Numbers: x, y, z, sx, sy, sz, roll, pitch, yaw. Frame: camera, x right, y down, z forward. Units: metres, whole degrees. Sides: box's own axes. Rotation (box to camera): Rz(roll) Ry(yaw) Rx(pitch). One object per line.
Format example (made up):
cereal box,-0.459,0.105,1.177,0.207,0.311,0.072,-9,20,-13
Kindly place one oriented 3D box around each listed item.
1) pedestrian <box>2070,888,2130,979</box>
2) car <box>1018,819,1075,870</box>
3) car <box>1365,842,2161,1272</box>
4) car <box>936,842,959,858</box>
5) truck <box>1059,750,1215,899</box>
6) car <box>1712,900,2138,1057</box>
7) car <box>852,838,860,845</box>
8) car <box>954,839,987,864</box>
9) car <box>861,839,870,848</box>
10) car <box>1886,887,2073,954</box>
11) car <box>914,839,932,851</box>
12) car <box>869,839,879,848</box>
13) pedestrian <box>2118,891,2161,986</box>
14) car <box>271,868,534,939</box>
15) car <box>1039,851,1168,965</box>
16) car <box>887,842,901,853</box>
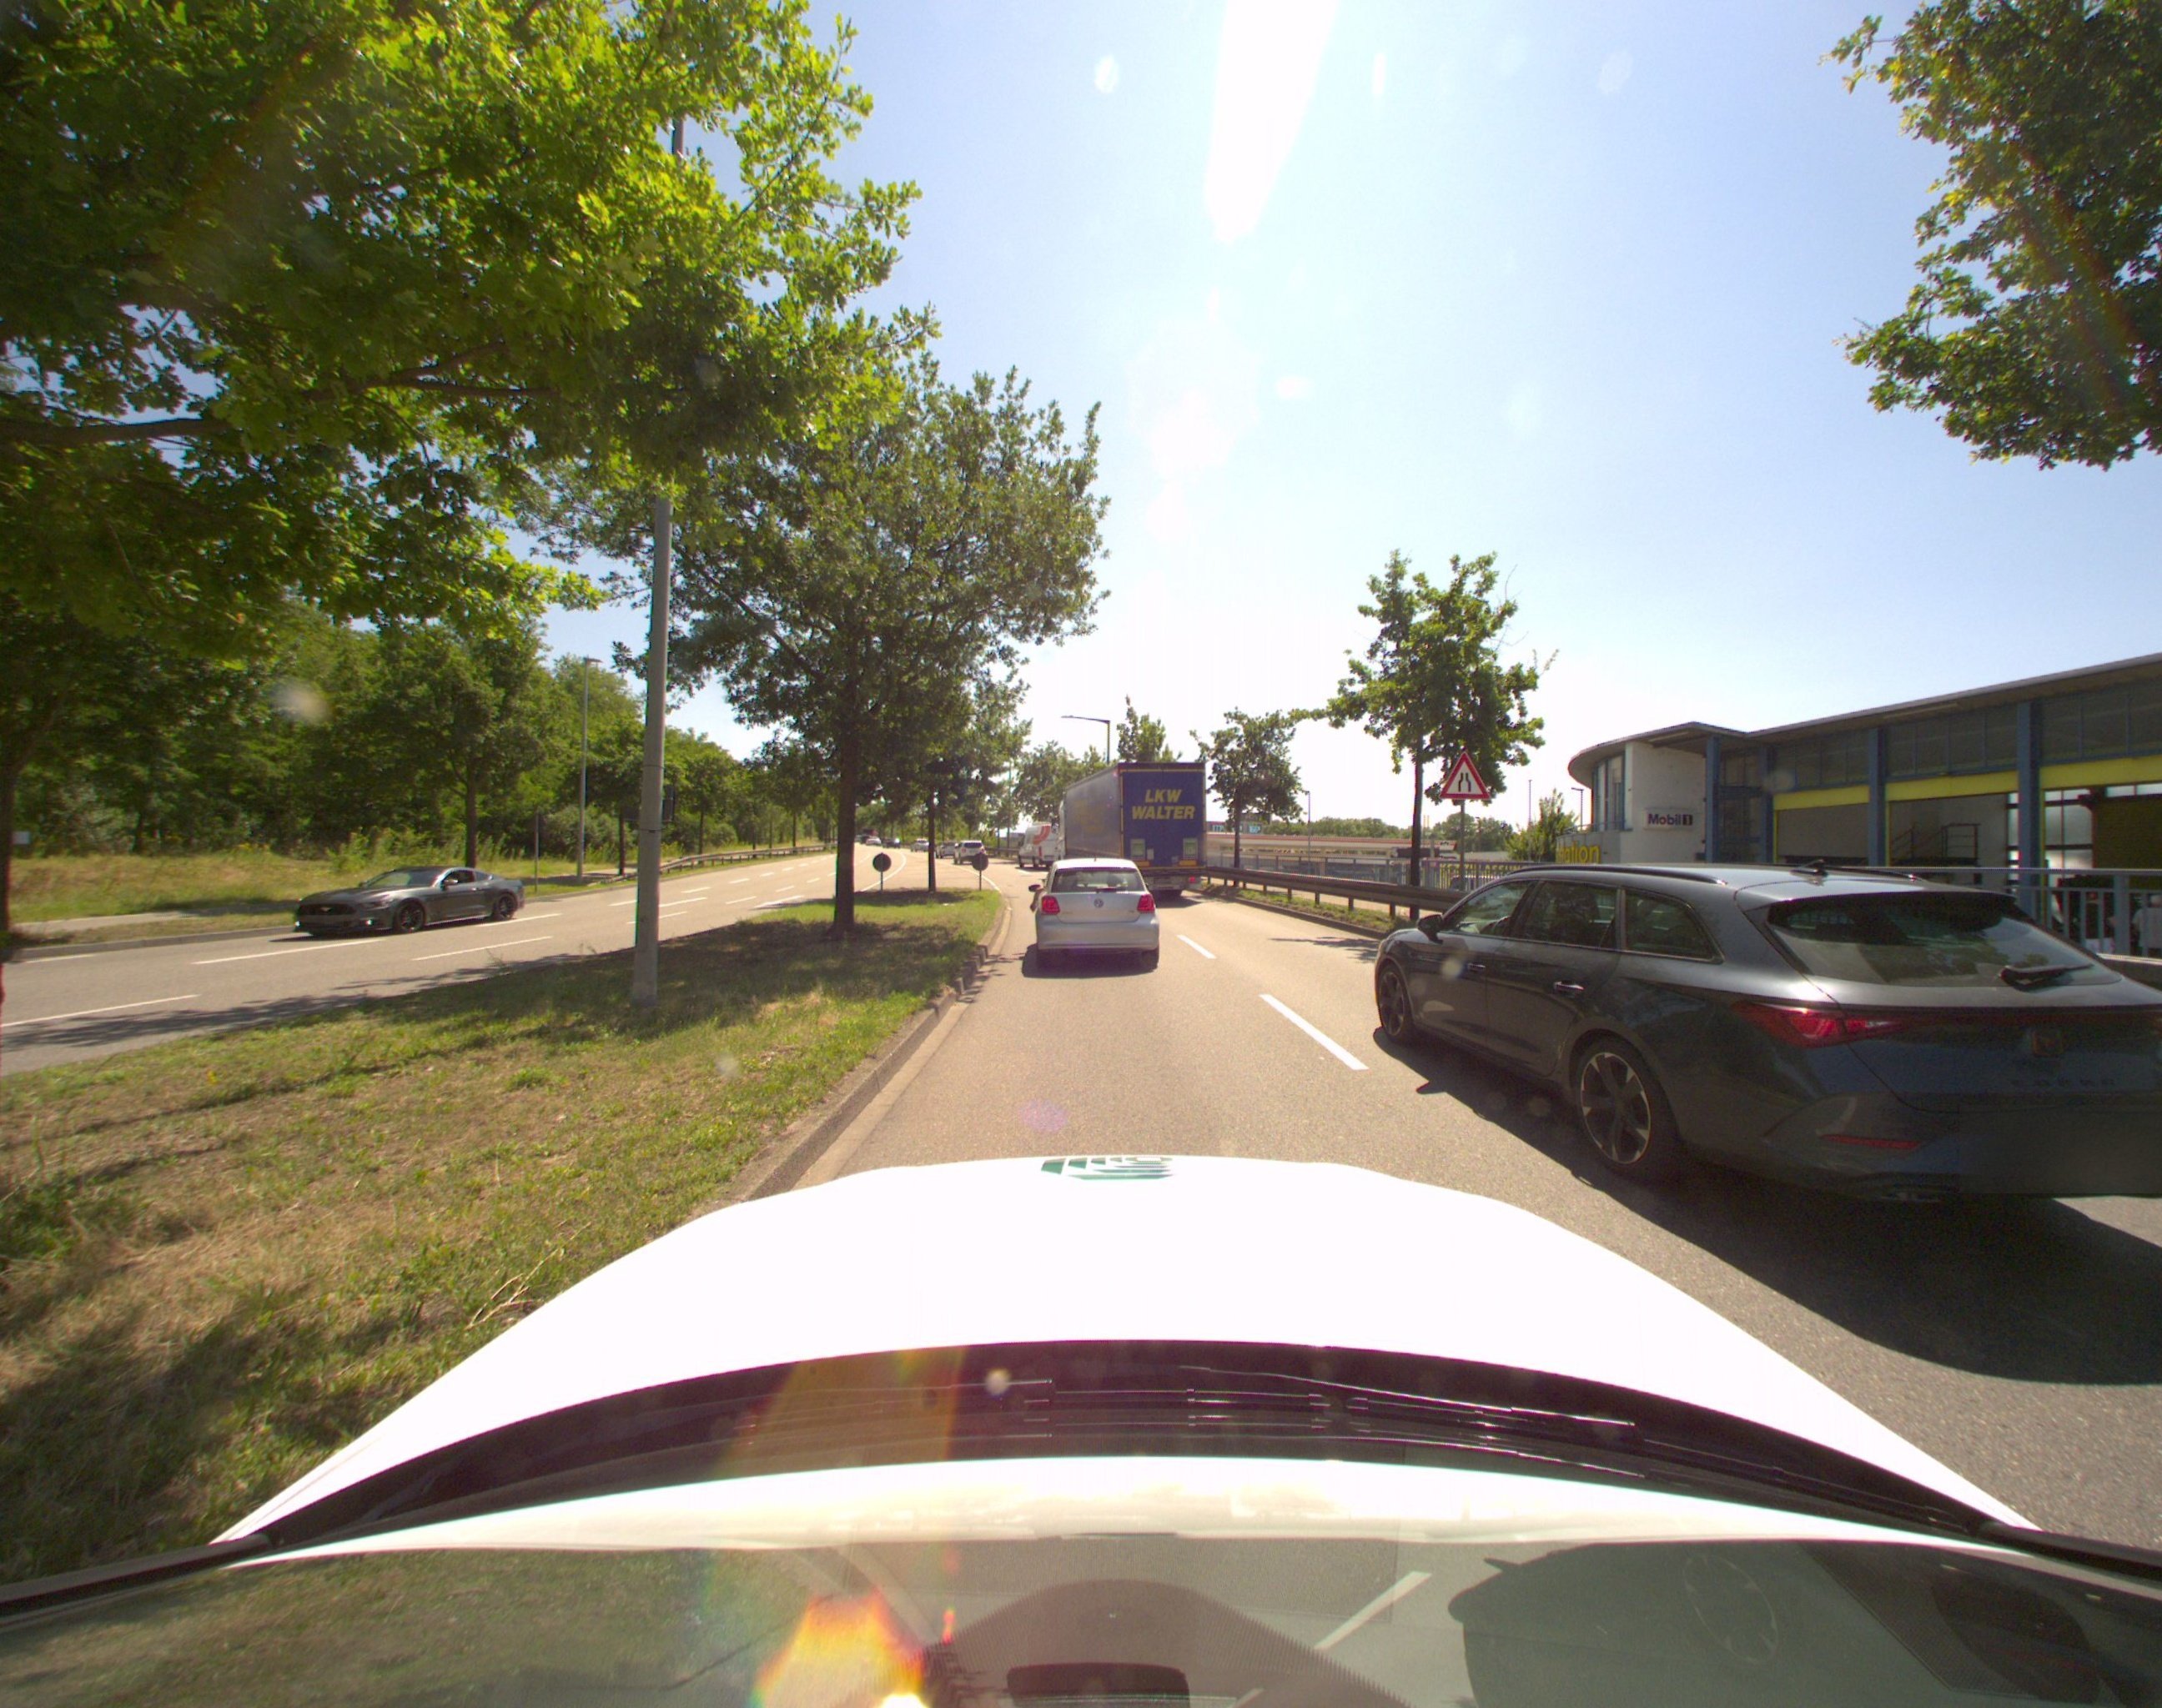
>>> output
pedestrian,19.673,1.521,15.728,0.520,1.703,0.488,0,-1,-1
car,-2.179,-0.602,49.499,2.179,2.900,6.327,0,1,-15
car,3.251,0.717,4.901,1.599,1.456,4.234,0,-1,0
car,-11.590,-0.345,70.536,1.498,1.360,3.640,0,0,-18
truck,1.377,-0.838,31.320,2.831,4.198,16.431,0,0,-7
car,10.728,1.471,10.846,1.628,1.532,3.898,0,-1,-1
car,-44.401,-2.466,160.683,1.324,1.139,2.979,0,-1,-15
car,-7.856,-0.149,57.614,1.905,1.718,4.205,0,-1,-13
car,-36.103,-1.733,136.412,1.420,1.314,3.321,0,-1,-14
car,24.581,1.786,22.351,3.664,1.684,1.647,0,-1,-7
car,-17.995,-0.995,92.732,1.613,1.360,3.640,0,0,-18
car,-31.423,-1.594,123.799,1.458,1.314,3.620,0,-1,-14
pedestrian,19.779,1.552,15.055,0.425,1.703,0.589,0,-1,-2
car,-14.510,0.983,17.858,1.803,1.333,4.570,0,-1,2
car,0.201,0.708,12.153,1.642,1.439,3.533,0,-1,-3
car,-25.385,-0.883,110.501,1.667,1.465,3.563,0,-1,-14
